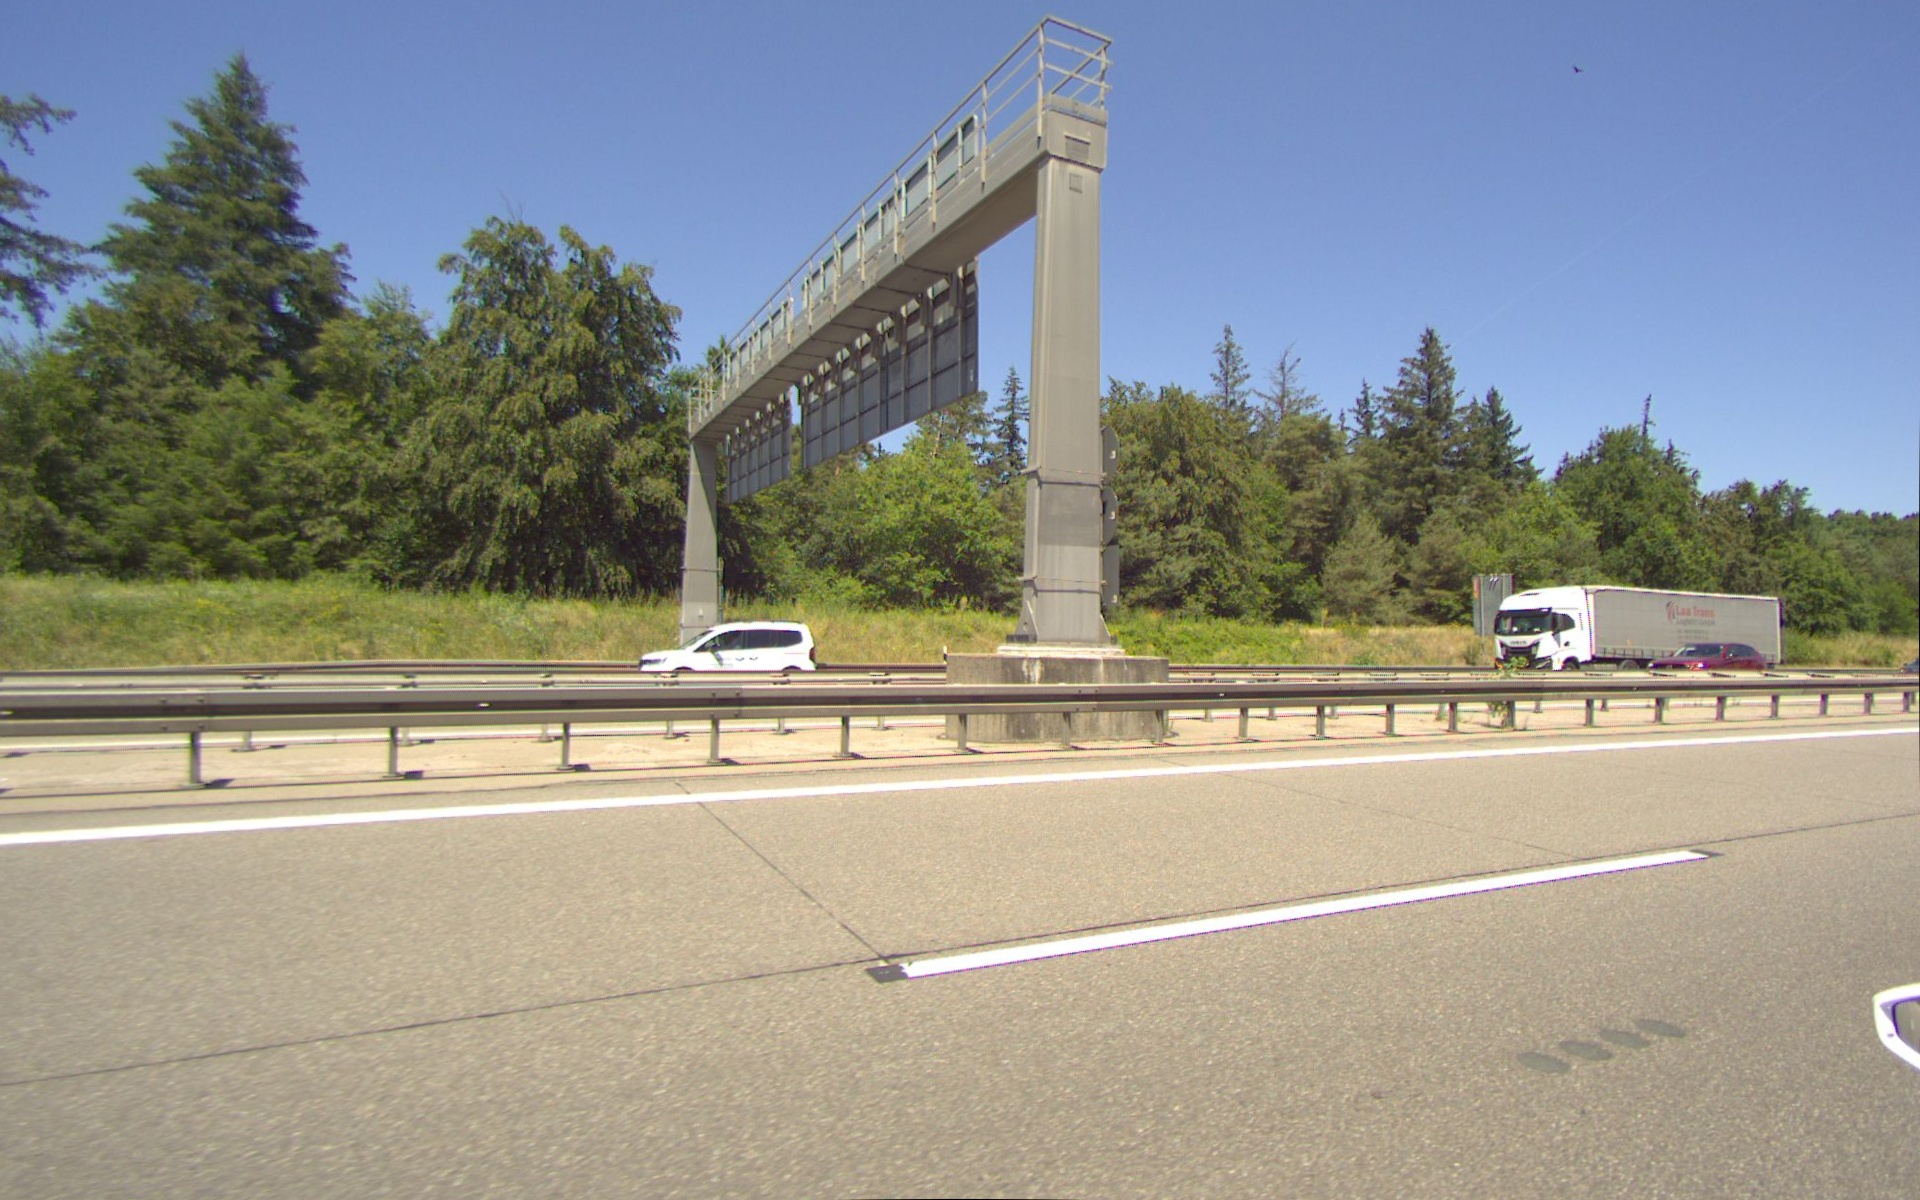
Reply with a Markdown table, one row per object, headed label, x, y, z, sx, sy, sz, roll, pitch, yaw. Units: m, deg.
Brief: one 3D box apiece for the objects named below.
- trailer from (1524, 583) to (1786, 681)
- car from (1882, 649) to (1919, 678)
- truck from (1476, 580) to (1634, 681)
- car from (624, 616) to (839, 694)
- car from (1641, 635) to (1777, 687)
| label | x | y | z | sx | sy | sz | roll | pitch | yaw |
| --- | --- | --- | --- | --- | --- | --- | --- | --- | --- |
| trailer | 31.311 | 1.521 | 44.995 | 13.775 | 3.983 | 3.159 | 2 | -1 | -25 |
| car | 52.491 | 3.432 | 54.478 | 4.879 | 1.482 | 2.078 | 2 | -2 | -27 |
| truck | 24.789 | 1.276 | 41.879 | 5.327 | 3.983 | 3.159 | 2 | -1 | -25 |
| car | -5.746 | 1.369 | 25.374 | 4.927 | 1.773 | 1.986 | 2 | -1 | -27 |
| car | 26.027 | 2.107 | 34.861 | 4.858 | 1.631 | 1.840 | 2 | -1 | -27 |
